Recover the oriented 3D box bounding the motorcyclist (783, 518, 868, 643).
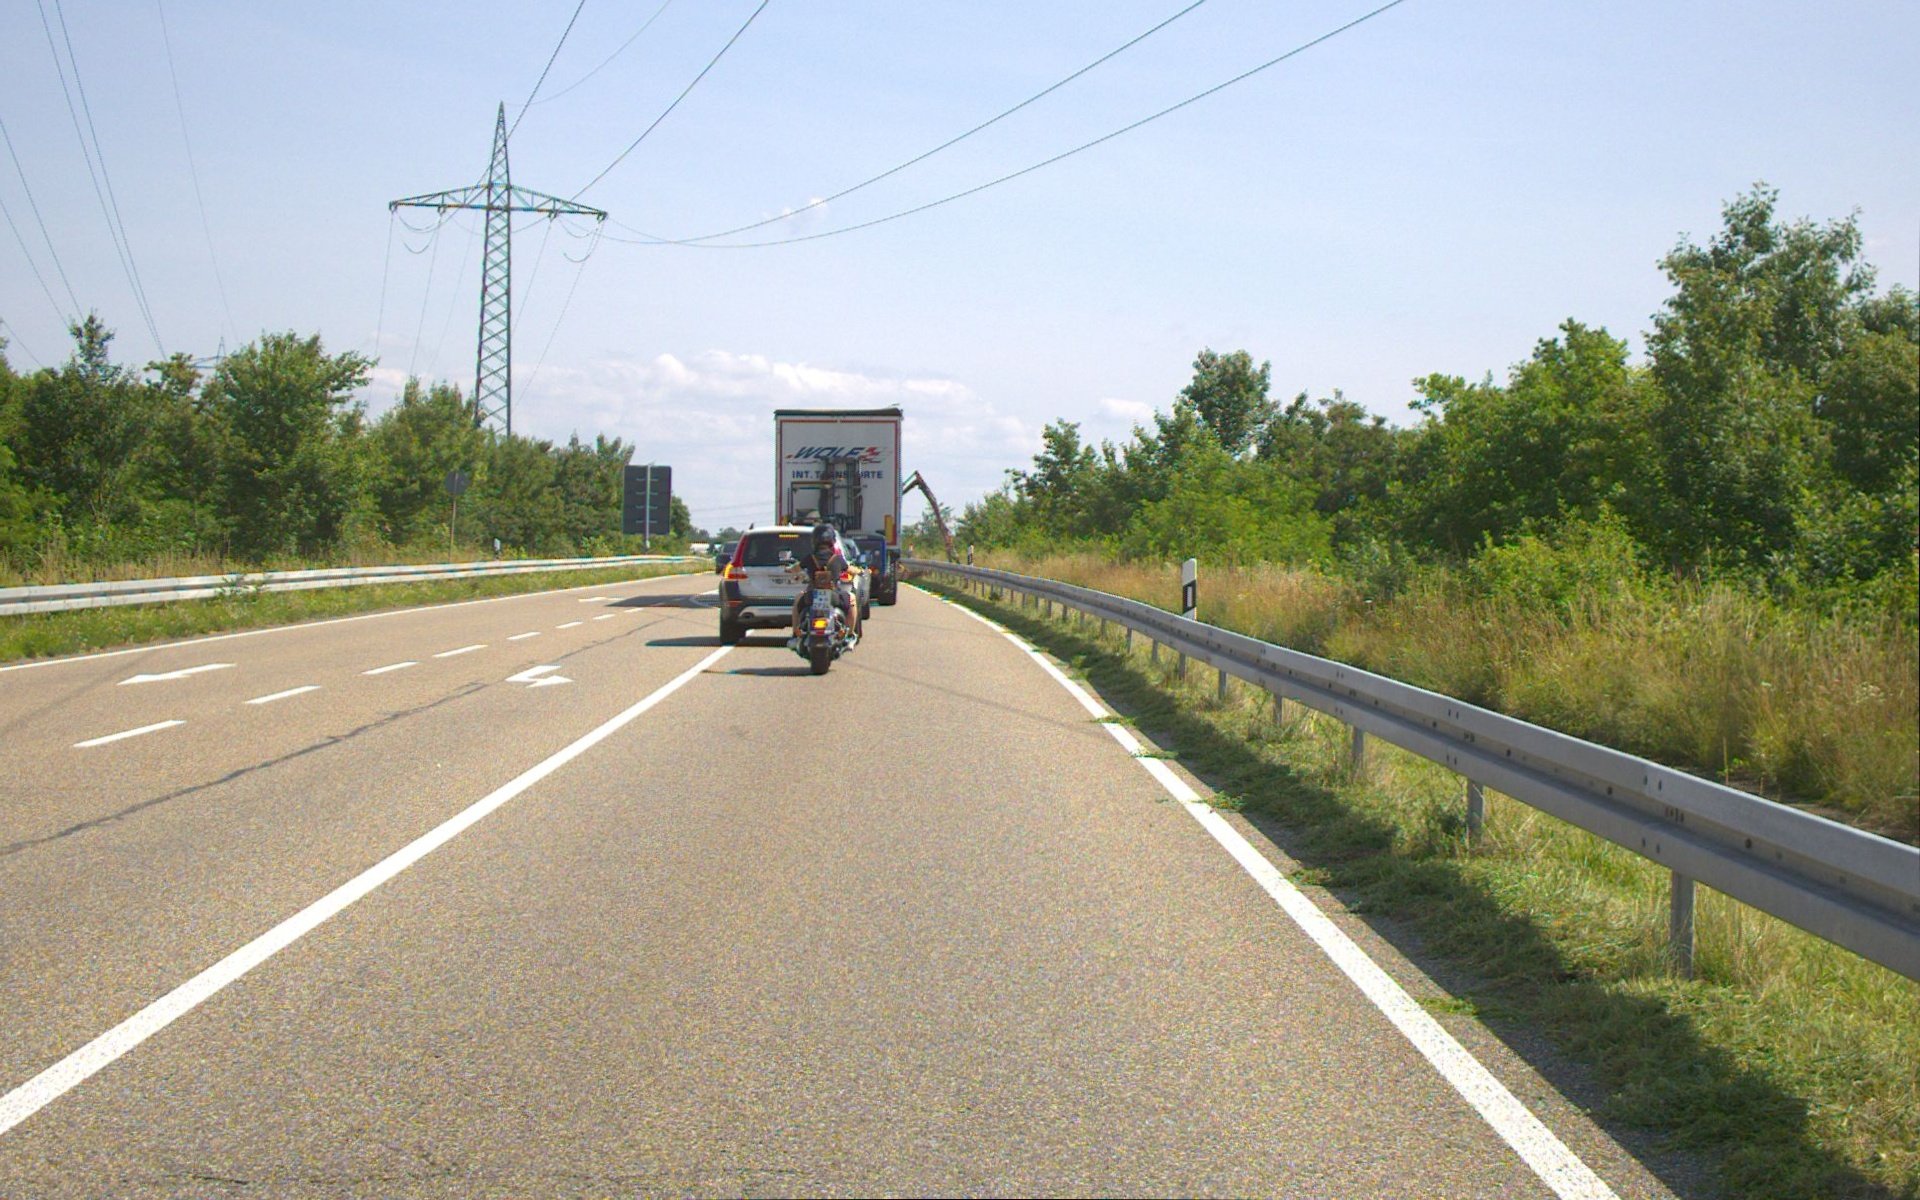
[{"bbox_3d":[-1.412,-0.209,35.891,0.837,1.276,0.919,1,1,-4],"label":"motorcyclist"}]

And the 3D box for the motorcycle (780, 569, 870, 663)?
[{"bbox_3d":[-1.420,0.151,35.841,0.858,0.912,2.228,1,1,-4],"label":"motorcycle"}]

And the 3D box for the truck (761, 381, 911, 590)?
[{"bbox_3d":[-2.628,-2.456,76.794,2.967,4.172,14.823,1,1,-1],"label":"truck"}]

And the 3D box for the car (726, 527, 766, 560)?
[{"bbox_3d":[-9.846,-2.610,158.145,1.727,1.486,4.423,1,1,-2],"label":"car"}]

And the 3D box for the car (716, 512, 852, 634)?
[{"bbox_3d":[-2.297,-0.380,45.556,1.701,1.531,3.499,1,1,-2],"label":"car"}]
